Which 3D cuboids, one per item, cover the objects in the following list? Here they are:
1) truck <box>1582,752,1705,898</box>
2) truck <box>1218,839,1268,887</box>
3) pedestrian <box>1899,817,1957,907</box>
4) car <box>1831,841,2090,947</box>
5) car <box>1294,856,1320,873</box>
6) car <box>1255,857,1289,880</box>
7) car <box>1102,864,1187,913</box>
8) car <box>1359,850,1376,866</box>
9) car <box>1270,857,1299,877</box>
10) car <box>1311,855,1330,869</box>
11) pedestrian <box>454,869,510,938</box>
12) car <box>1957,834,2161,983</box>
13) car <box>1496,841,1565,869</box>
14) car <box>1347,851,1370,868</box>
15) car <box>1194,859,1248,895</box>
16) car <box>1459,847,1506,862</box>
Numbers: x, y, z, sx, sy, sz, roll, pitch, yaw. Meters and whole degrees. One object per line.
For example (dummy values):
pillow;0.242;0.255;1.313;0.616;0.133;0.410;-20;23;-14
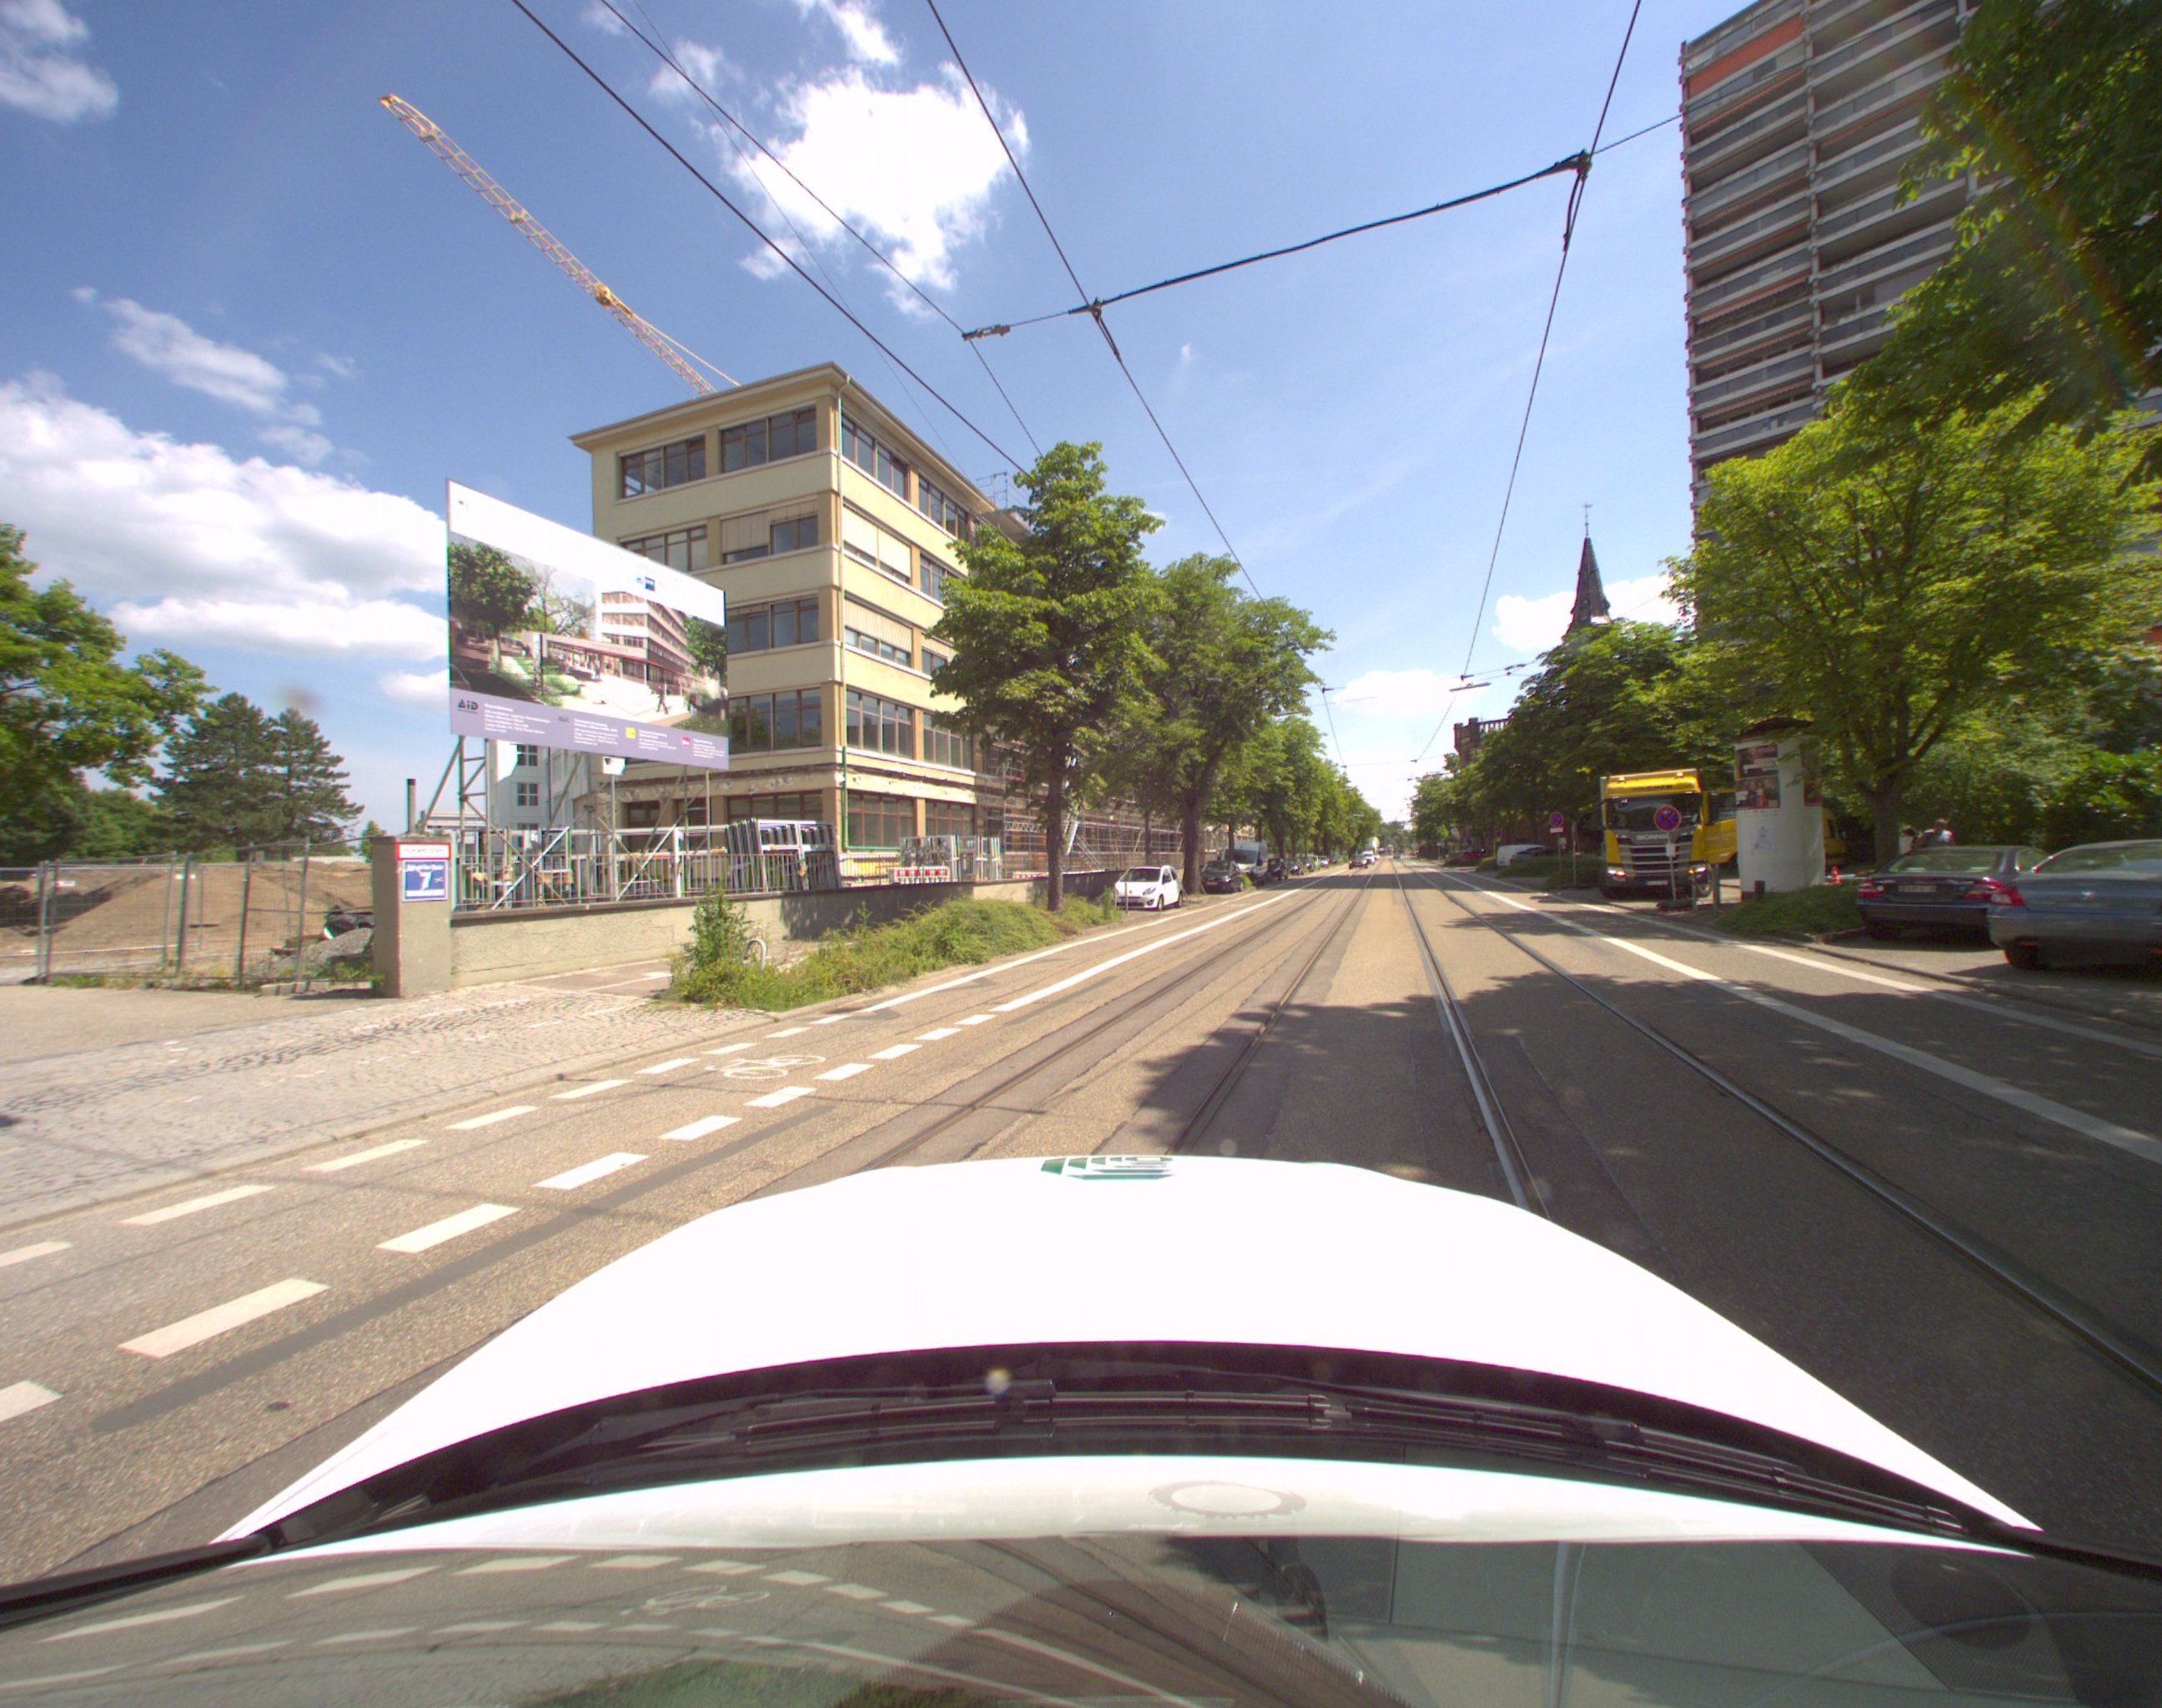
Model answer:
truck;18.860;-0.797;27.079;2.715;4.006;9.807;-3;-1;37
truck;9.030;0.466;45.101;2.004;2.485;5.899;-1;0;18
pedestrian;18.070;0.167;17.394;0.706;1.874;0.581;-2;-1;34
car;13.561;0.532;12.529;4.031;1.373;1.616;-1;0;-26
car;22.085;0.997;79.441;1.977;1.486;4.360;-1;0;21
car;12.846;0.938;54.548;1.978;1.456;4.017;-1;0;16
car;2.156;1.083;26.770;1.603;1.440;3.604;-2;-1;24
car;38.979;0.525;110.675;1.976;2.014;4.021;-2;-1;21
car;16.088;1.036;64.344;1.978;1.486;4.018;-1;0;17
car;28.053;0.955;95.194;1.806;1.574;4.020;-1;0;20
pedestrian;-16.463;1.342;22.398;0.859;1.819;0.974;-2;-1;30
car;12.282;0.502;9.215;4.023;1.463;1.807;-1;0;-20
car;30.371;0.062;55.024;3.997;1.794;1.824;-1;0;-17
car;28.567;0.552;83.773;1.976;1.689;4.021;-2;-1;21
car;6.629;1.048;38.272;1.978;1.607;4.018;-1;0;17
car;42.221;0.019;85.624;3.975;1.486;1.999;-1;0;-1
